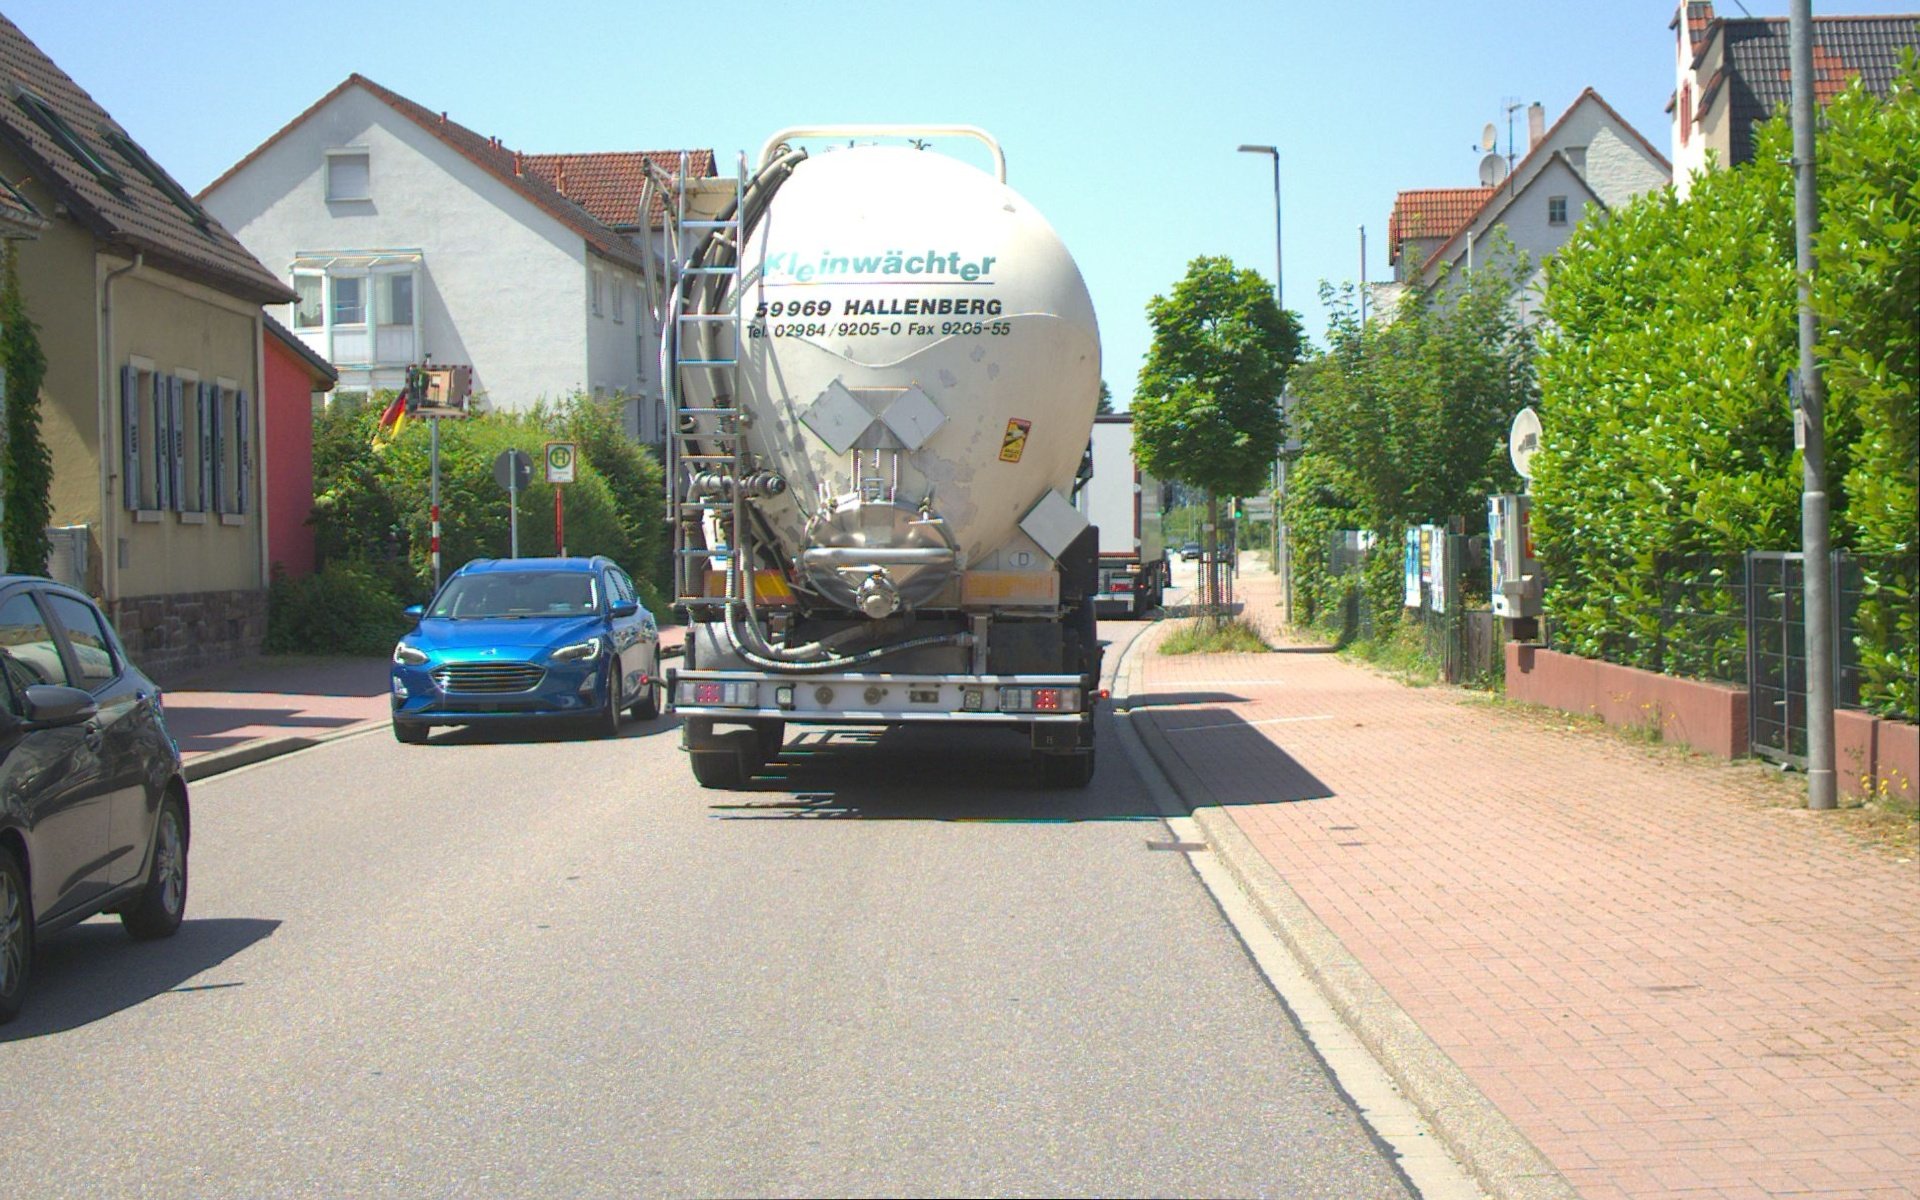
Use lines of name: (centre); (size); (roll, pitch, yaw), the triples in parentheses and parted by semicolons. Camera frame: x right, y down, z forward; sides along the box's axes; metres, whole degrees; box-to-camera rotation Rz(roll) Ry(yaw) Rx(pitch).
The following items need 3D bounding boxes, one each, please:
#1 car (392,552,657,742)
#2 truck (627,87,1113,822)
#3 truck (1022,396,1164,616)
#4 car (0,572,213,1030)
car: (-3.621, 0.336, 29.248); (1.645, 1.449, 4.401); (-2, 1, 0)
truck: (-0.508, -0.883, 23.562); (2.641, 4.002, 9.562); (0, 1, 0)
truck: (2.915, -1.923, 72.190); (2.641, 4.210, 12.092); (0, 1, 4)
car: (-3.966, 0.674, 12.357); (1.676, 1.454, 3.929); (-3, 1, 0)
